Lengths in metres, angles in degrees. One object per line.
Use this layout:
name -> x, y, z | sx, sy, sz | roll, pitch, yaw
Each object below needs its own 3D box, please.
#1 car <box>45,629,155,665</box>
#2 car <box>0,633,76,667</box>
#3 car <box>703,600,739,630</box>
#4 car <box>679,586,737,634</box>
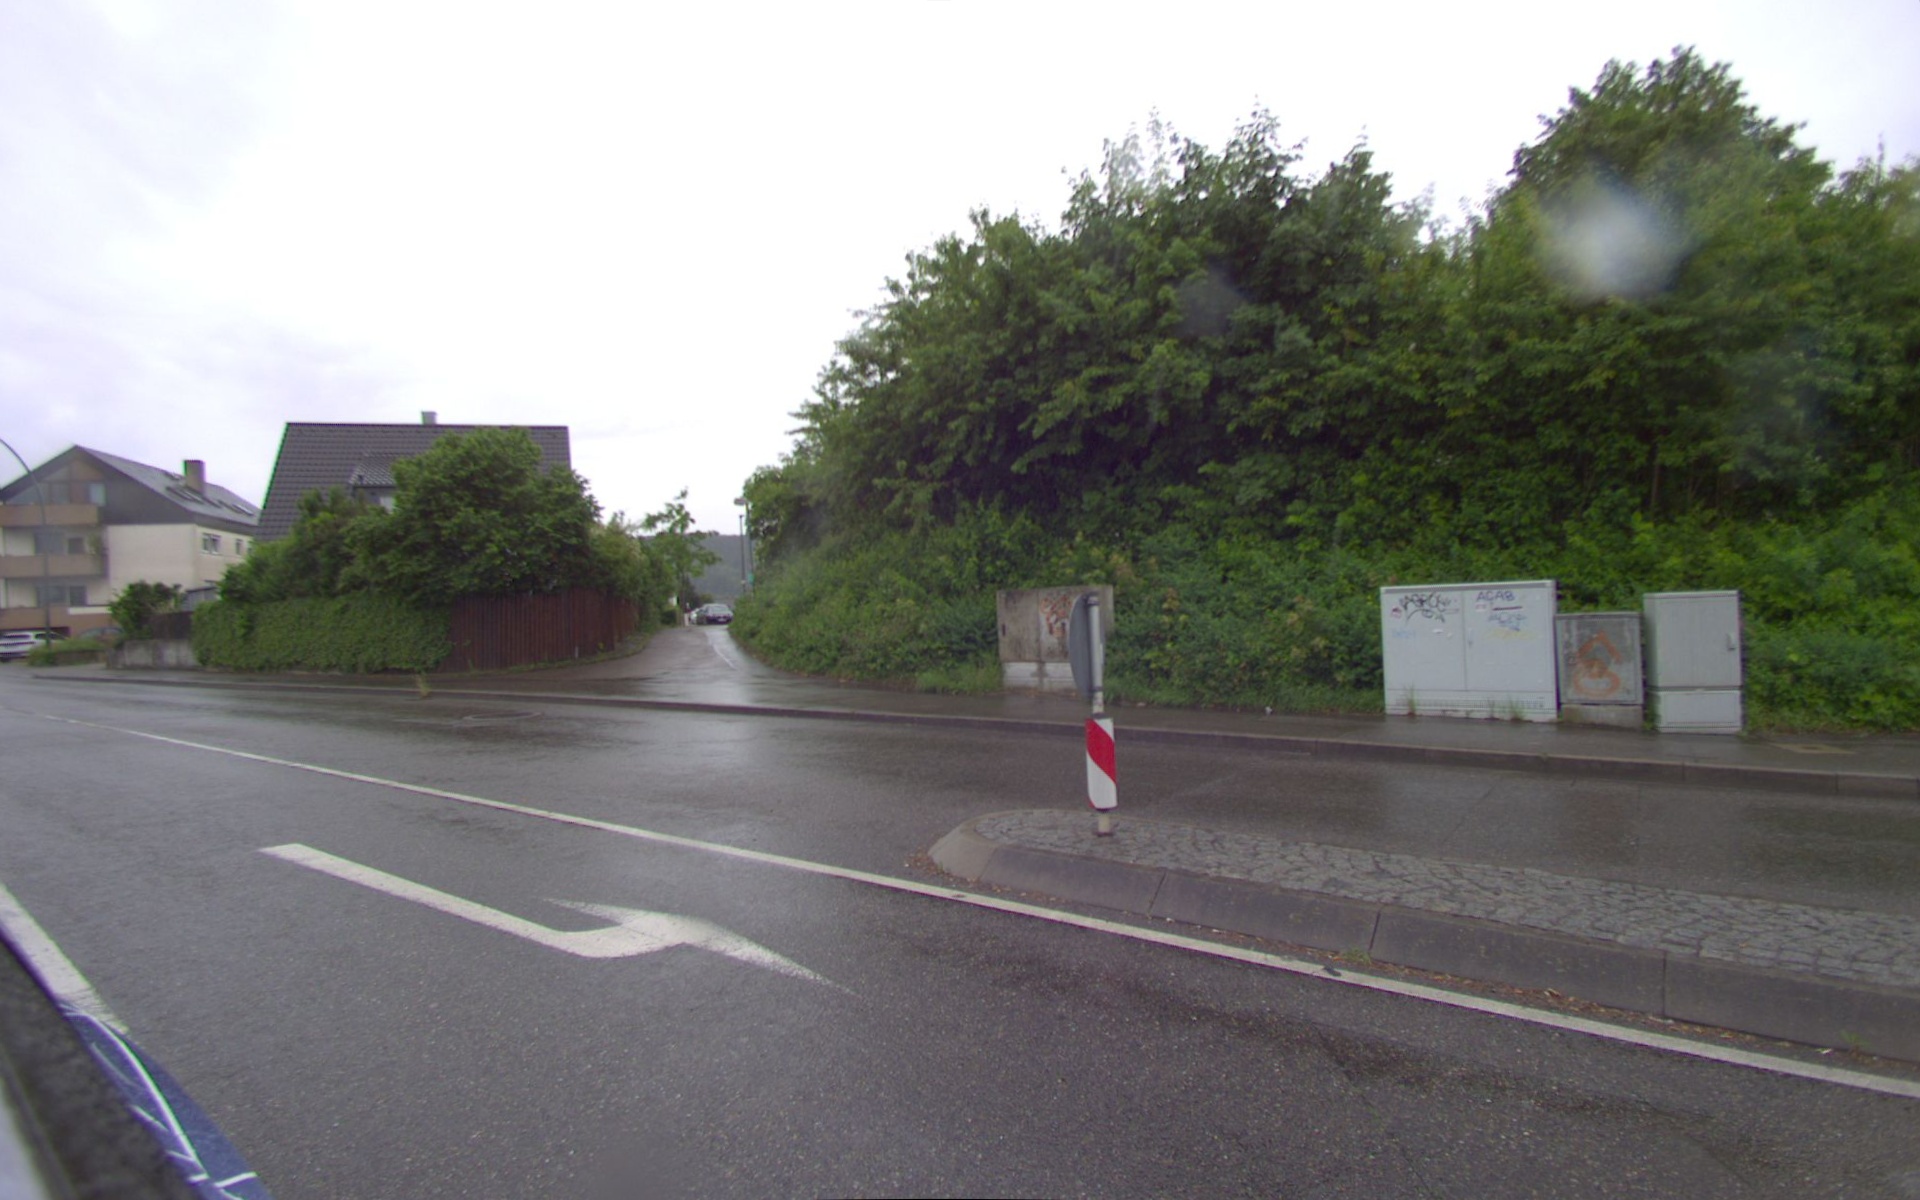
car -> -41.169, 2.224, 48.537 | 3.609, 1.530, 1.759 | -2, 0, -15
car -> -46.809, 2.512, 51.050 | 1.837, 1.530, 4.012 | -2, 0, -18
car -> -15.586, 0.956, 66.178 | 1.968, 1.873, 4.008 | -2, 0, -9
car -> -9.173, 0.352, 37.057 | 1.683, 1.600, 3.668 | -1, 0, -8
